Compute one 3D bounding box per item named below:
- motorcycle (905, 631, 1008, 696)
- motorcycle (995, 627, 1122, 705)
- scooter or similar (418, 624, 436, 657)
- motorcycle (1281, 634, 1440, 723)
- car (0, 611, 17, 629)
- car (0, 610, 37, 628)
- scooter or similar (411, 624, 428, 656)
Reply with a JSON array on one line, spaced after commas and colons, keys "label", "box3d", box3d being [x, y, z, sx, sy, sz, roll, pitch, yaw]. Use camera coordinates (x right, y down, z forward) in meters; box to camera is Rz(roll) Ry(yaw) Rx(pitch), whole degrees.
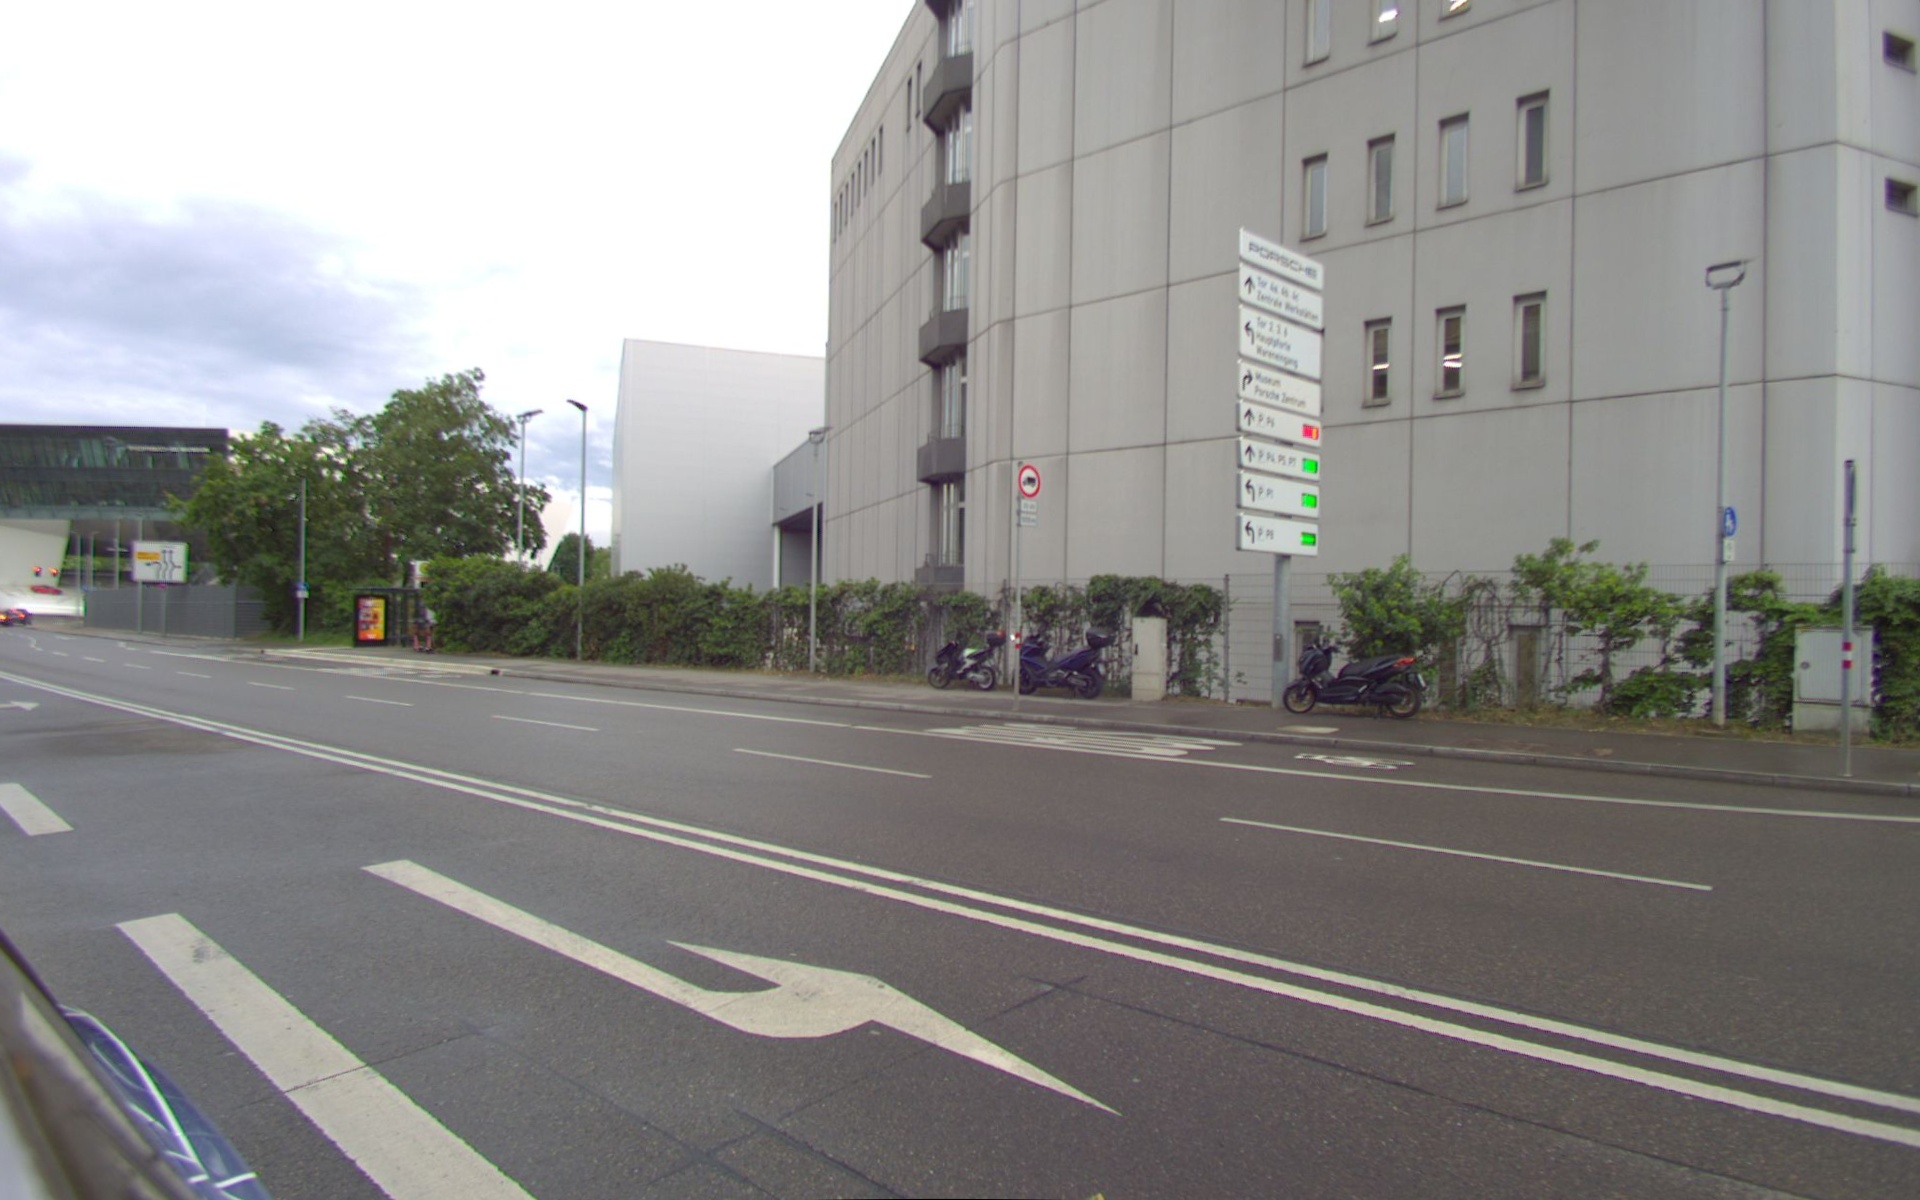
[{"label": "motorcycle", "box3d": [-0.095, 1.299, 21.163, 2.156, 1.260, 0.777, -1, -2, 40]}, {"label": "motorcycle", "box3d": [1.829, 1.197, 19.044, 2.368, 1.358, 0.776, -1, -2, 40]}, {"label": "scooter or similar", "box3d": [-19.599, 1.479, 37.235, 0.373, 1.190, 1.381, 1, -1, -36]}, {"label": "motorcycle", "box3d": [6.159, 1.169, 15.633, 2.156, 1.256, 0.777, -1, -2, 40]}, {"label": "car", "box3d": [-85.205, 1.750, 89.227, 2.233, 1.488, 4.059, 1, -1, -32]}, {"label": "car", "box3d": [-88.677, 1.777, 95.305, 1.834, 1.663, 3.799, 1, -1, -30]}, {"label": "scooter or similar", "box3d": [-20.471, 1.495, 38.299, 0.383, 1.189, 1.253, 1, -1, -36]}]
